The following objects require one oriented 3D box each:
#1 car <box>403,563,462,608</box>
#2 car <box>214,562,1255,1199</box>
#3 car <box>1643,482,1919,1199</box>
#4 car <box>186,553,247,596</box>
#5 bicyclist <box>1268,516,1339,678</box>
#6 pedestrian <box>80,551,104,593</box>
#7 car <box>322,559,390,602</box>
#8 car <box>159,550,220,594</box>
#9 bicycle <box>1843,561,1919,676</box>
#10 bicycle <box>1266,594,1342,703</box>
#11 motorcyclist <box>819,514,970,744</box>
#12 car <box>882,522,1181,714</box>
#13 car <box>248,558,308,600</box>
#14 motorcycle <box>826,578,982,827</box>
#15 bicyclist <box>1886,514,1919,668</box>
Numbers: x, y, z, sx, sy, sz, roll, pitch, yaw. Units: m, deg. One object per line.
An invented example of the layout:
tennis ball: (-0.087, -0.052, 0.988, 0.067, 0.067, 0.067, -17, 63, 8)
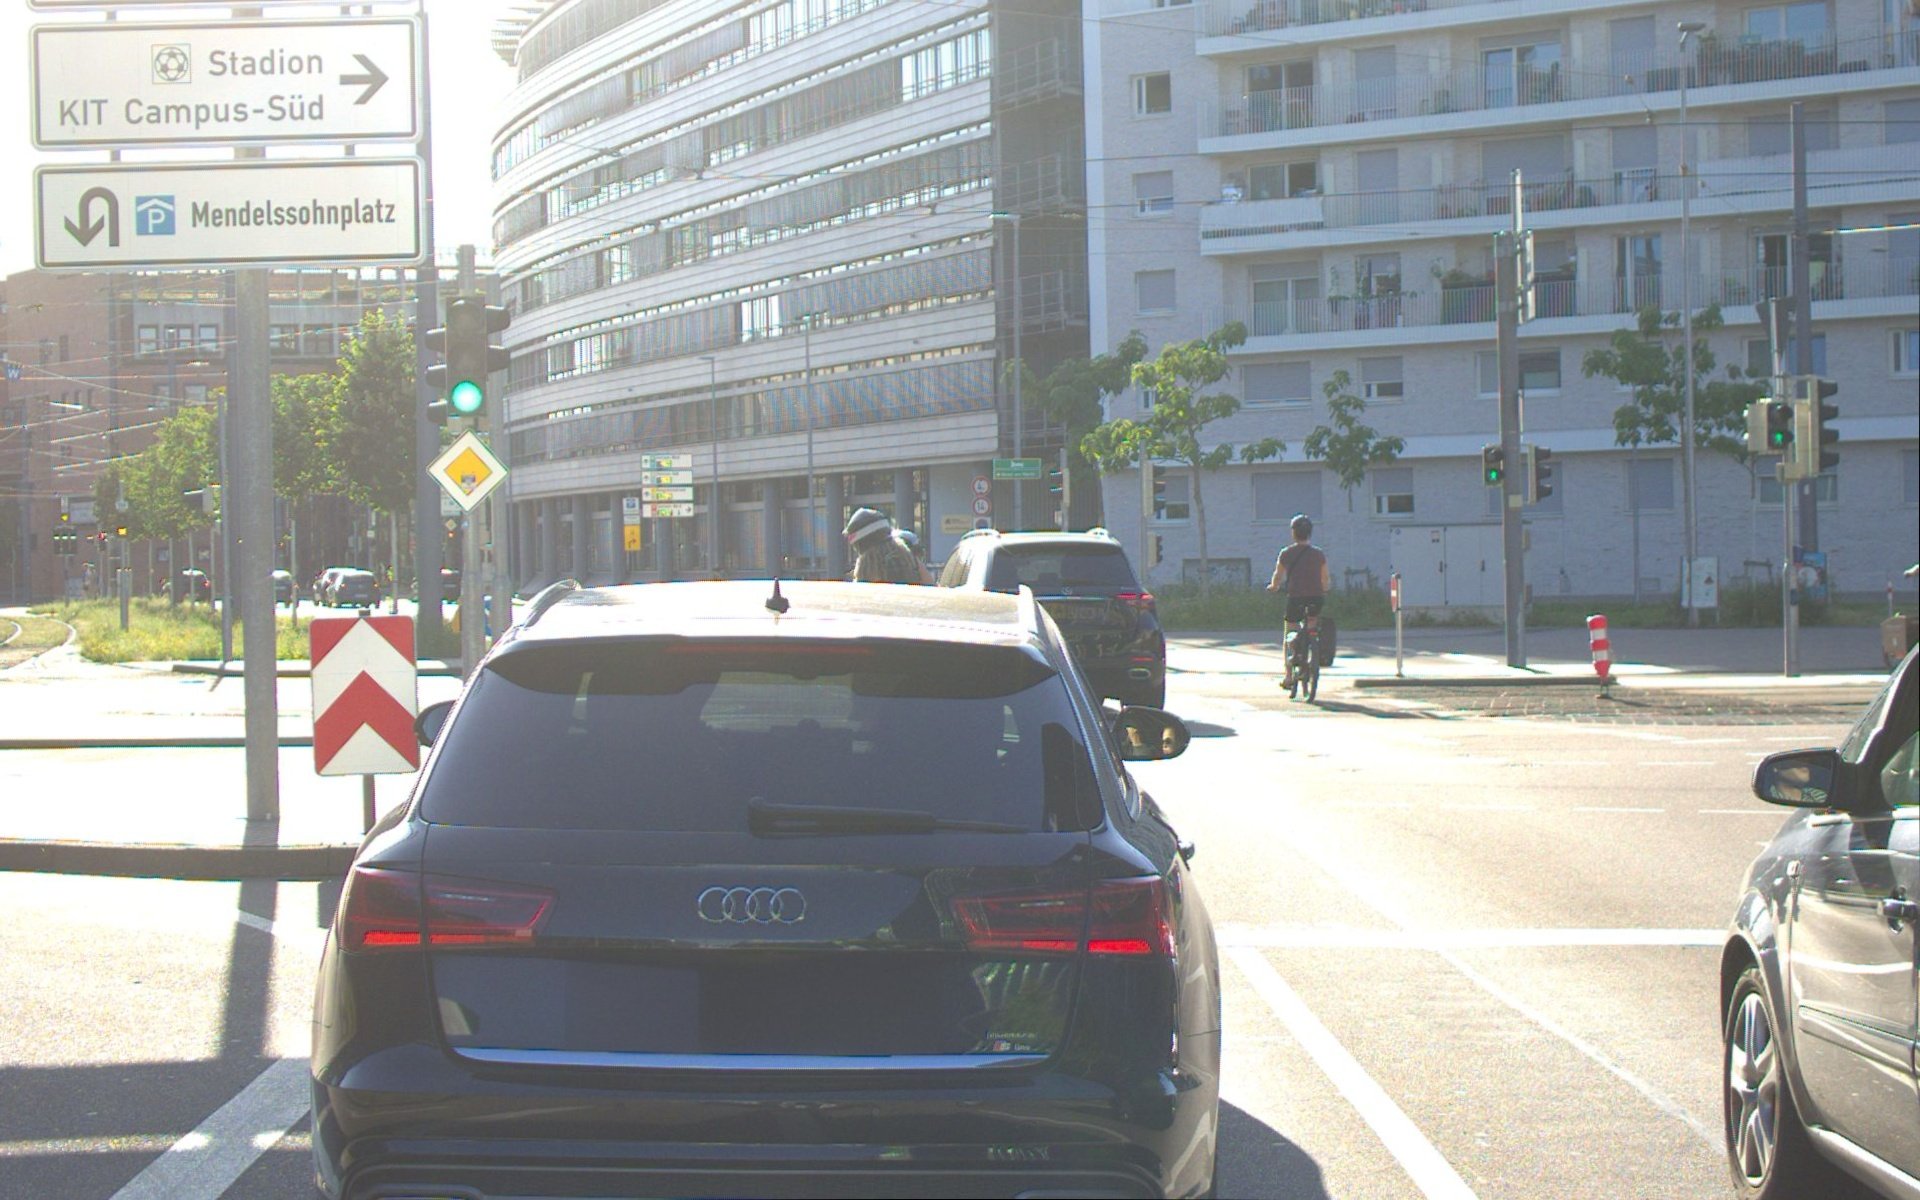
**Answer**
car: (-22.635, -0.601, 147.457, 1.993, 1.831, 4.001, -2, 0, -16)
car: (-0.442, 0.661, 8.131, 1.842, 1.449, 4.000, 1, 1, -1)
car: (2.607, 0.645, 6.409, 1.746, 1.690, 4.261, 1, 1, -1)
car: (-30.980, -1.056, 143.237, 1.993, 1.700, 4.001, -2, 0, -19)
bicyclist: (3.534, -0.040, 35.406, 0.654, 1.637, 0.972, -1, 1, 2)
pedestrian: (-38.282, -1.240, 151.652, 0.902, 1.818, 0.829, -2, -1, -17)
car: (-23.816, -0.773, 135.493, 1.993, 1.590, 4.001, -2, 0, -19)
car: (-32.022, -1.158, 142.839, 1.993, 1.700, 4.001, -2, 0, -19)
bicycle: (10.787, 0.199, 38.655, 0.766, 1.258, 2.082, -1, 1, -13)
bicycle: (3.537, 0.484, 35.414, 0.654, 1.039, 1.929, -1, 1, 2)
motorcyclist: (-0.390, 0.164, 20.292, 0.862, 1.322, 0.681, -1, 0, -2)
car: (0.600, 0.120, 32.901, 2.002, 1.709, 4.373, 1, 1, -10)
car: (-27.370, -0.826, 137.914, 1.993, 1.590, 4.001, -2, 0, -16)
motorcycle: (-0.342, 0.572, 20.408, 0.862, 1.388, 1.894, -1, 1, -2)
bicyclist: (10.886, -0.108, 38.228, 0.766, 1.700, 0.930, -1, 1, -13)
